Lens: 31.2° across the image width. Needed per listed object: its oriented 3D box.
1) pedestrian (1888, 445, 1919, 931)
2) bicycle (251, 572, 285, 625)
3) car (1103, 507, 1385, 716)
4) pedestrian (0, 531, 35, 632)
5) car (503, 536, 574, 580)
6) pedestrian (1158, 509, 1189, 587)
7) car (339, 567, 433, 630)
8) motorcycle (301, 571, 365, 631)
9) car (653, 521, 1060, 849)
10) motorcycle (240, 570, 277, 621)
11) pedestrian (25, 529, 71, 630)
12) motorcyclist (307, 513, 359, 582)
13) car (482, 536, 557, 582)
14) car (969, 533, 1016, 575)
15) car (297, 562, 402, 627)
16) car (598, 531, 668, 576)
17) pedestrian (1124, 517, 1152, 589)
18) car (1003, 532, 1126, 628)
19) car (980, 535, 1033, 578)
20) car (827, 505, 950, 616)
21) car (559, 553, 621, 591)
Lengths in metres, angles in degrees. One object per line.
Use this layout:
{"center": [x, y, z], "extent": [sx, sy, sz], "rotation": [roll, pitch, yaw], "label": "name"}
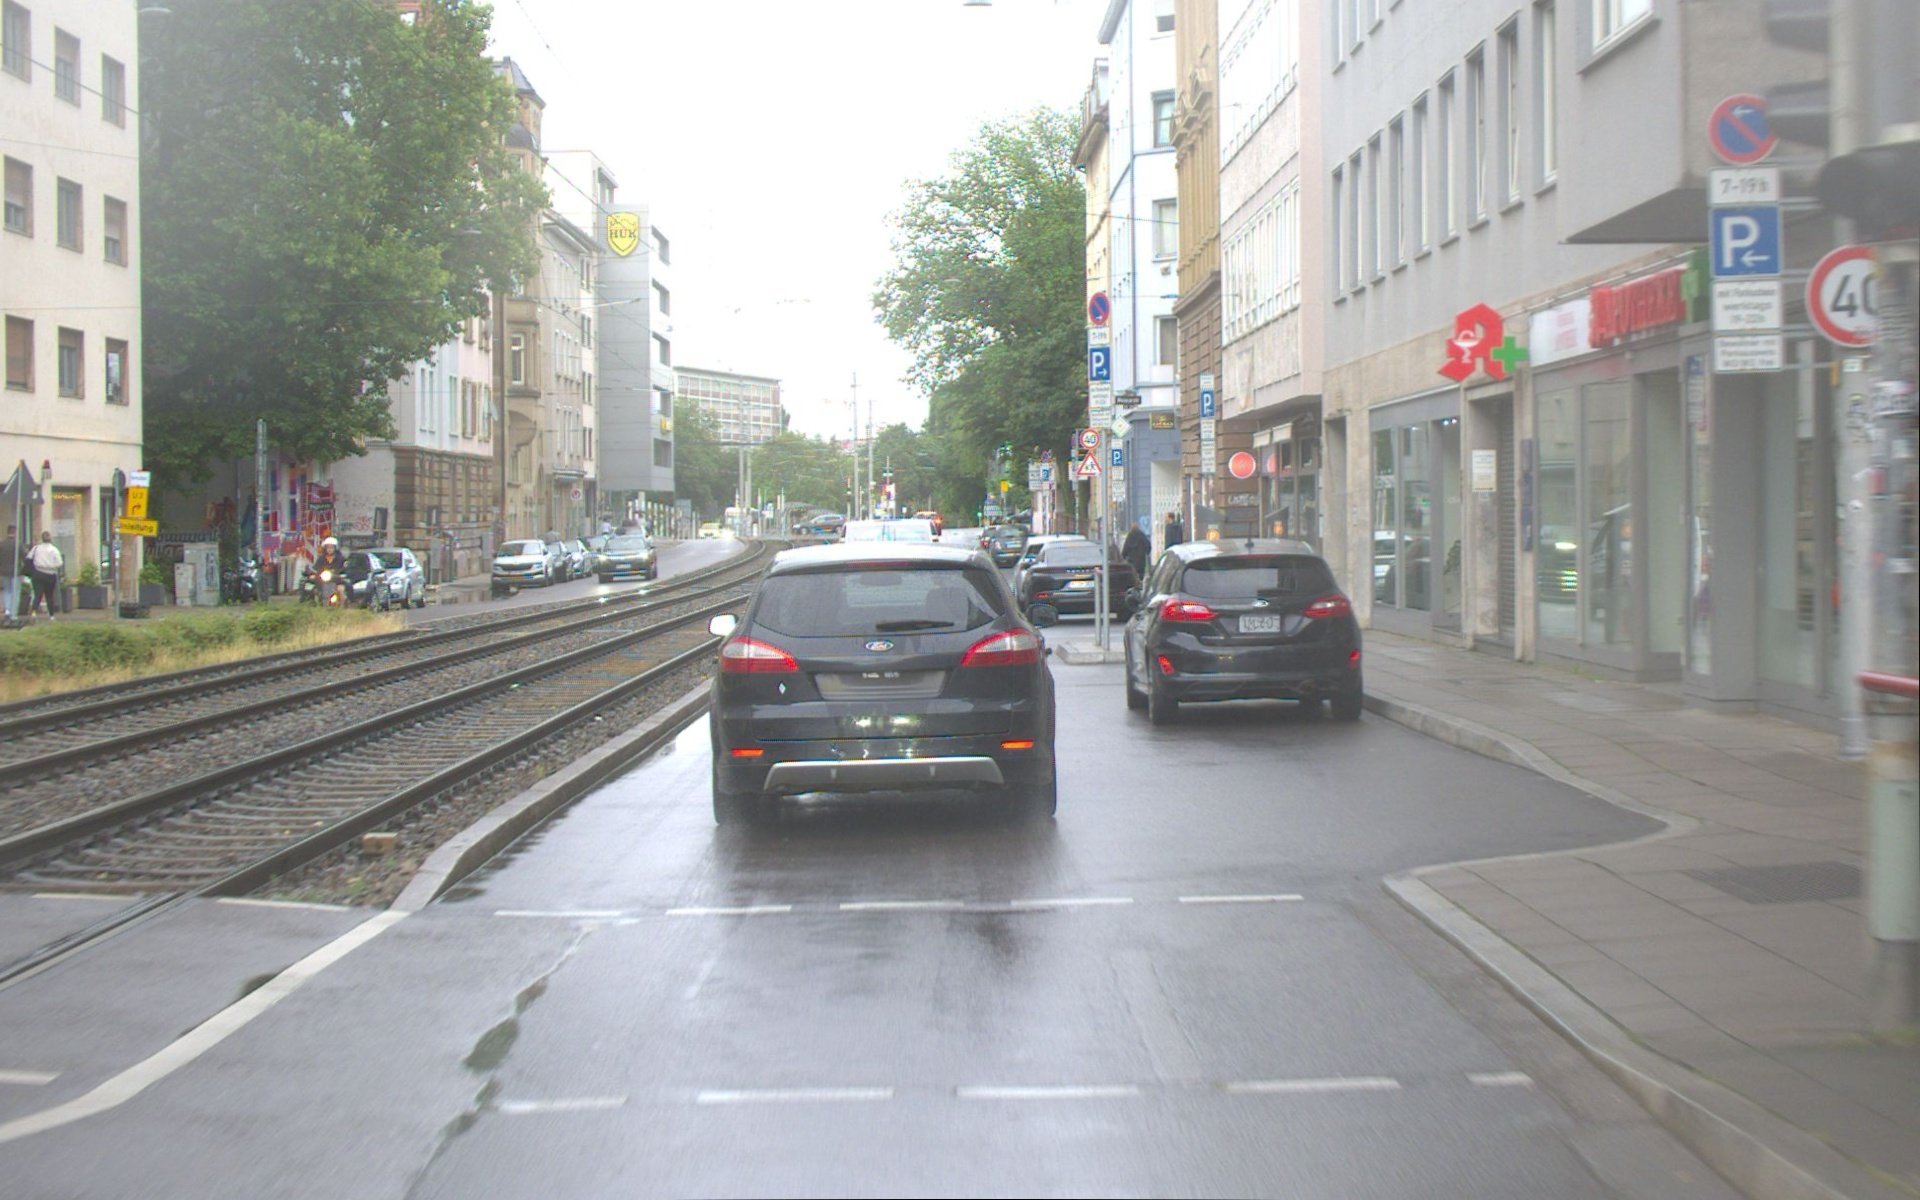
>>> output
{"center": [3.511, 0.281, 11.047], "extent": [0.659, 1.577, 0.780], "rotation": [-1, 0, -22], "label": "pedestrian"}
{"center": [-16.047, -0.032, 79.754], "extent": [0.590, 1.222, 2.404], "rotation": [0, 0, -7], "label": "bicycle"}
{"center": [2.301, 0.096, 28.919], "extent": [1.993, 1.588, 4.271], "rotation": [-1, 0, 0], "label": "car"}
{"center": [-17.918, -0.355, 64.740], "extent": [0.727, 1.889, 0.983], "rotation": [0, 0, 0], "label": "pedestrian"}
{"center": [-14.749, -1.453, 120.441], "extent": [1.993, 1.514, 4.209], "rotation": [0, 1, 0], "label": "car"}
{"center": [5.494, -1.338, 88.505], "extent": [0.736, 2.007, 0.821], "rotation": [0, 1, -1], "label": "pedestrian"}
{"center": [-14.591, -0.053, 87.534], "extent": [1.721, 1.565, 4.220], "rotation": [0, 1, 0], "label": "car"}
{"center": [-11.147, 0.016, 61.199], "extent": [0.742, 1.056, 1.931], "rotation": [0, 0, 1], "label": "motorcycle"}
{"center": [-0.508, 0.427, 19.223], "extent": [1.993, 1.588, 4.271], "rotation": [-1, 0, 0], "label": "car"}
{"center": [-19.034, -0.129, 93.309], "extent": [0.639, 1.374, 2.120], "rotation": [0, 1, -2], "label": "motorcycle"}
{"center": [-17.122, -0.381, 64.543], "extent": [0.678, 1.889, 0.743], "rotation": [0, 0, 0], "label": "pedestrian"}
{"center": [-11.144, -0.936, 61.124], "extent": [0.741, 1.213, 0.970], "rotation": [0, 0, 2], "label": "motorcyclist"}
{"center": [-14.822, -1.390, 115.874], "extent": [1.993, 1.514, 4.435], "rotation": [0, 1, 0], "label": "car"}
{"center": [1.190, -1.717, 127.806], "extent": [1.642, 1.510, 4.039], "rotation": [0, 1, -1], "label": "car"}
{"center": [-14.634, -0.145, 82.587], "extent": [1.744, 1.464, 4.220], "rotation": [-2, 1, 0], "label": "car"}
{"center": [-11.224, -1.579, 118.262], "extent": [1.993, 1.514, 4.444], "rotation": [0, 1, 0], "label": "car"}
{"center": [4.582, -1.221, 88.389], "extent": [0.662, 1.845, 0.821], "rotation": [0, 1, -1], "label": "pedestrian"}
{"center": [1.792, -0.336, 60.267], "extent": [1.993, 1.588, 4.572], "rotation": [-1, 0, 0], "label": "car"}
{"center": [1.649, -1.563, 123.292], "extent": [1.738, 1.484, 4.000], "rotation": [0, 1, -1], "label": "car"}
{"center": [-1.192, -0.648, 59.282], "extent": [1.993, 1.810, 4.271], "rotation": [-1, 0, 0], "label": "car"}
{"center": [-14.716, -1.121, 136.994], "extent": [1.993, 1.514, 4.676], "rotation": [0, 1, 0], "label": "car"}
